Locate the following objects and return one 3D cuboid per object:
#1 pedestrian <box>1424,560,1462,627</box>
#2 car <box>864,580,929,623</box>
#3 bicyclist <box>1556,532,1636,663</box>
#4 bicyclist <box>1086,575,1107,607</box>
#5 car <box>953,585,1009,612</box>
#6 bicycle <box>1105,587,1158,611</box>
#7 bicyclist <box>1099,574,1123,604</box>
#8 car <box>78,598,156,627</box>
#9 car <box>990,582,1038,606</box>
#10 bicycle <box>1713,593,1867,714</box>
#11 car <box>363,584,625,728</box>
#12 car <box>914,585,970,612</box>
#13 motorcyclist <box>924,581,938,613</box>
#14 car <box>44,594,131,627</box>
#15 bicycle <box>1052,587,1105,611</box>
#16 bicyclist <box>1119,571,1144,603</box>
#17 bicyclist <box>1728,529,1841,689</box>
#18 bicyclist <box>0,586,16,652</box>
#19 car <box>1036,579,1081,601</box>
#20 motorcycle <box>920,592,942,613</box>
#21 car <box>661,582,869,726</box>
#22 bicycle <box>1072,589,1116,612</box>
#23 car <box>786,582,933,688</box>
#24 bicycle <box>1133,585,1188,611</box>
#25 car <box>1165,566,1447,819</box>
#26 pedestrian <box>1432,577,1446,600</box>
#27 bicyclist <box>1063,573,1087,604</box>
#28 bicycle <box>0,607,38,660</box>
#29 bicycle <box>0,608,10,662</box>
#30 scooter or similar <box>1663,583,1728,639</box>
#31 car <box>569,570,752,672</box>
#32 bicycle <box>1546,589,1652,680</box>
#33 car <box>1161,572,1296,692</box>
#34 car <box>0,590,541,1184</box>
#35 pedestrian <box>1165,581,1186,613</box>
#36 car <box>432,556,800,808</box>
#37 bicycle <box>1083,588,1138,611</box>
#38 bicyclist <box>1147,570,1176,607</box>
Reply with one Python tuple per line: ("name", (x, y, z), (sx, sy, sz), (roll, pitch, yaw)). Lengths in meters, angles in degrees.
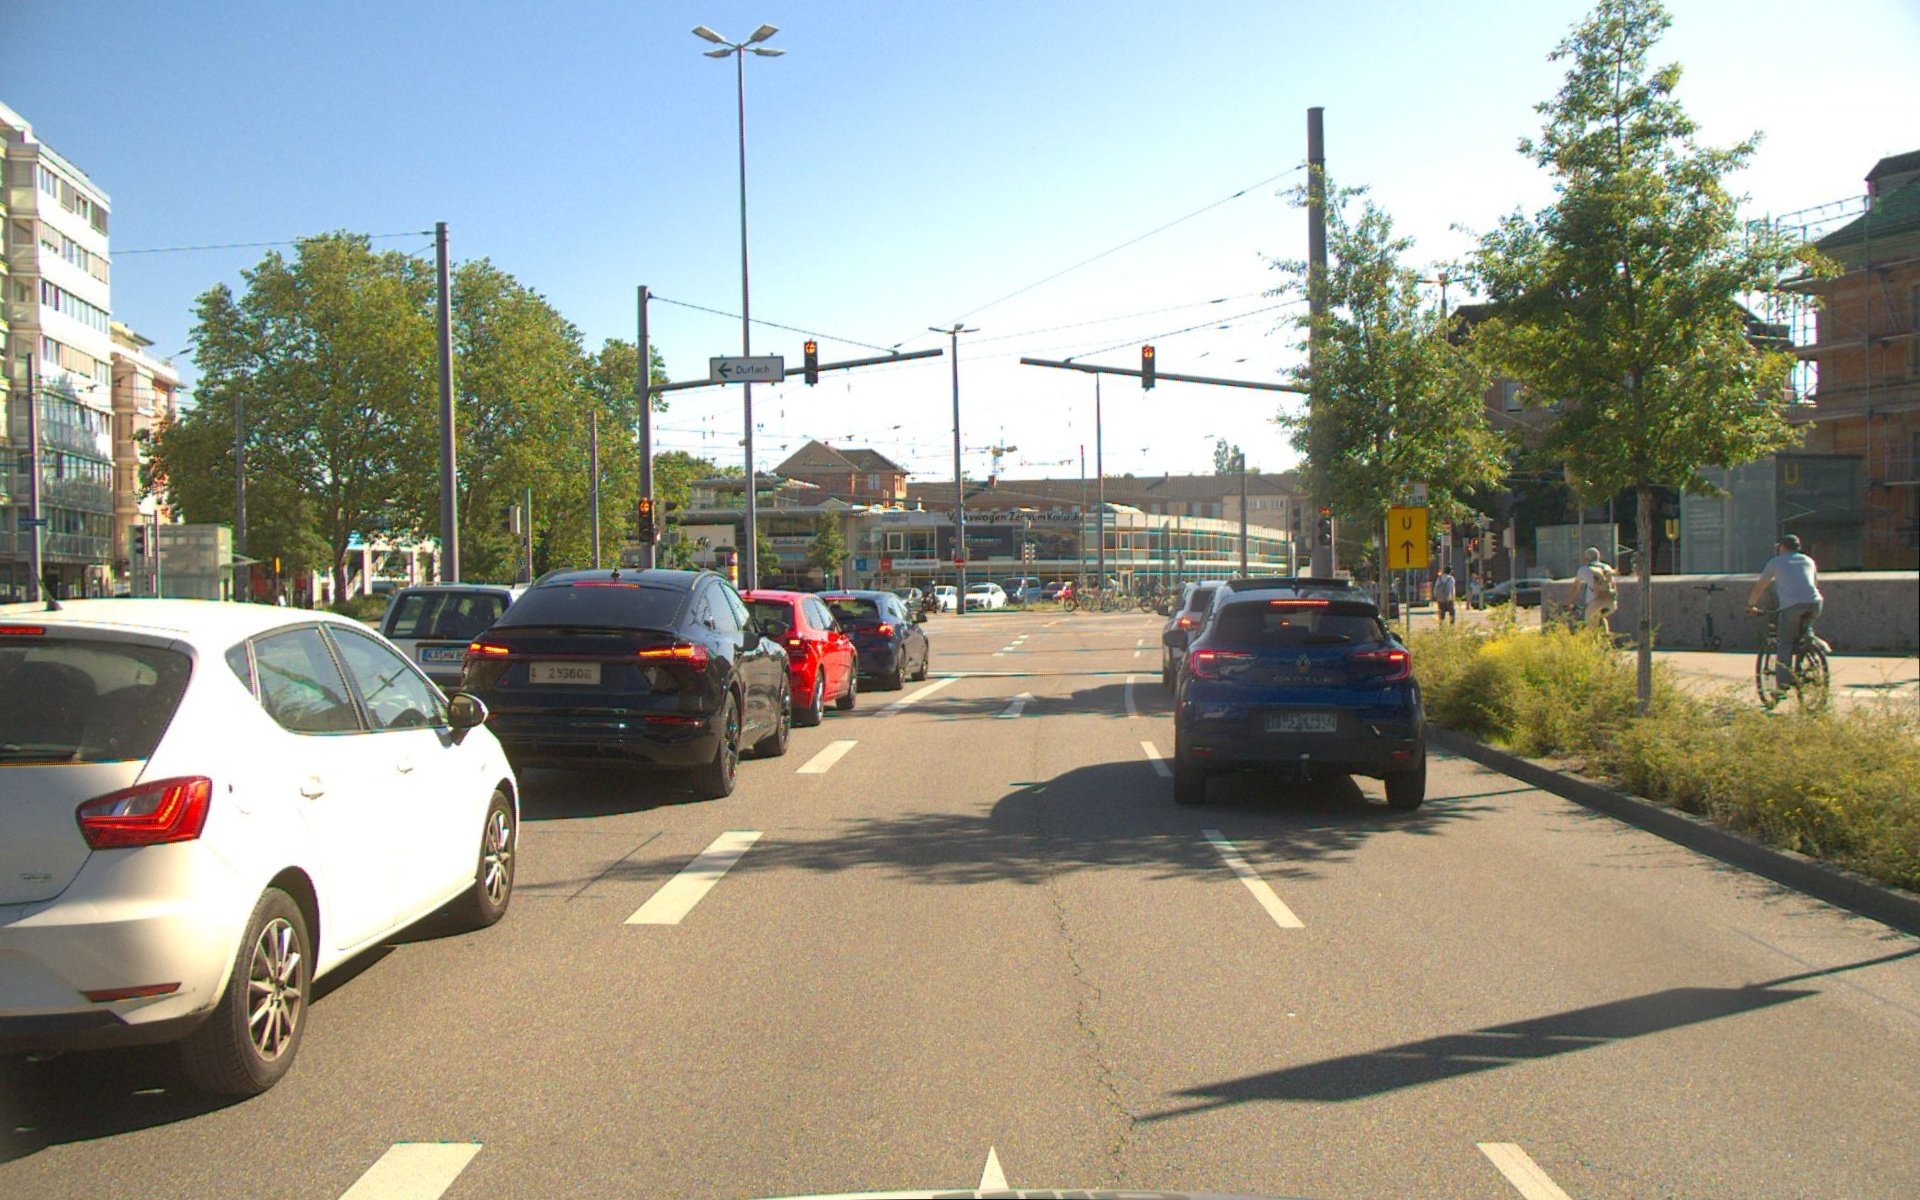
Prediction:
("pedestrian", (12.979, -0.159, 44.446), (0.863, 1.753, 0.587), (2, -3, -42))
("car", (-3.337, 0.048, 87.688), (1.953, 2.048, 4.000), (1, 3, 23))
("bicyclist", (8.892, -0.041, 23.148), (0.705, 1.793, 0.977), (-1, 0, -1))
("bicyclist", (6.991, -0.480, 84.591), (0.967, 1.632, 0.758), (-1, 0, -6))
("car", (1.188, -0.090, 91.378), (1.690, 1.468, 4.183), (0, 0, 22))
("bicycle", (8.883, -0.053, 85.820), (2.600, 1.209, 0.944), (-1, 2, -13))
("bicyclist", (7.607, -0.562, 83.431), (0.946, 1.474, 0.965), (-1, 0, -15))
("car", (-42.700, 0.602, 83.836), (3.209, 1.339, 1.519), (-1, 3, -16))
("car", (3.473, -0.396, 105.538), (1.690, 1.467, 4.183), (2, 1, 22))
("bicycle", (8.791, 0.537, 17.603), (0.701, 1.185, 1.870), (-1, 1, 1))
("car", (-5.140, 0.557, 18.762), (1.689, 1.467, 3.800), (0, 0, 3))
("car", (-1.010, -0.079, 93.937), (1.690, 1.468, 4.183), (0, 0, 22))
("motorcyclist", (-1.532, -0.158, 86.918), (0.538, 1.649, 0.745), (-1, 0, 19))
("car", (-41.861, 0.471, 79.403), (3.375, 1.537, 1.686), (0, 0, -15))
("bicycle", (6.197, -0.050, 86.611), (2.600, 1.209, 0.944), (-1, 2, -13))
("bicyclist", (8.912, -0.659, 85.786), (1.044, 1.611, 0.944), (-1, 2, -13))
("bicyclist", (8.791, 0.090, 17.664), (0.705, 1.645, 0.978), (-1, 1, 0))
("bicyclist", (-21.923, 0.430, 37.405), (0.758, 1.469, 0.643), (0, 0, 2))
("car", (6.702, -0.674, 112.223), (1.690, 1.467, 4.183), (2, 1, 22))
("motorcycle", (-1.531, 0.133, 86.923), (0.550, 1.113, 1.836), (-1, 0, 19))
("car", (-2.160, 0.554, 19.261), (1.636, 1.467, 3.724), (2, 0, 5))
("bicycle", (6.858, 0.020, 84.587), (2.136, 1.114, 0.758), (-1, 0, -6))
("car", (-1.479, 0.490, 25.738), (1.688, 1.467, 3.801), (2, 0, 5))
("bicycle", (10.004, -0.107, 82.595), (2.608, 1.209, 0.942), (-1, 3, -21))
("car", (2.604, 0.596, 12.986), (1.837, 1.646, 3.801), (1, 1, 9))
("pedestrian", (29.760, -0.726, 102.734), (0.586, 1.434, 0.800), (0, 2, -1))
("bicyclist", (6.028, -0.601, 86.549), (1.044, 1.611, 0.944), (-1, 2, -13))
("bicycle", (-21.982, 0.750, 37.406), (1.910, 1.185, 0.643), (0, 0, 2))
("bicycle", (-22.086, 0.767, 36.476), (1.910, 1.185, 0.643), (0, 0, 2))
("scooter or similar", (14.284, 0.199, 32.144), (0.459, 1.030, 1.244), (-1, 3, -17))
("car", (-4.735, 0.300, 26.704), (1.688, 1.467, 3.913), (2, 0, 9))
("bicycle", (8.906, 0.456, 23.133), (0.731, 1.185, 1.870), (-1, 1, -1))
("car", (3.958, 0.442, 24.891), (1.837, 1.646, 3.628), (1, 0, 7))
("car", (-2.795, 0.703, 5.960), (1.657, 1.461, 3.736), (0, 0, -1))
("pedestrian", (11.648, -0.169, 89.382), (0.844, 1.639, 0.694), (-2, 3, -39))
("car", (-2.501, 0.533, 13.178), (1.943, 1.652, 4.378), (1, 0, 1))
("bicycle", (7.583, -0.037, 83.411), (2.600, 1.114, 0.965), (-1, 0, -16))
("bicyclist", (10.060, -0.597, 82.604), (1.166, 1.807, 0.942), (-1, 2, -21))
